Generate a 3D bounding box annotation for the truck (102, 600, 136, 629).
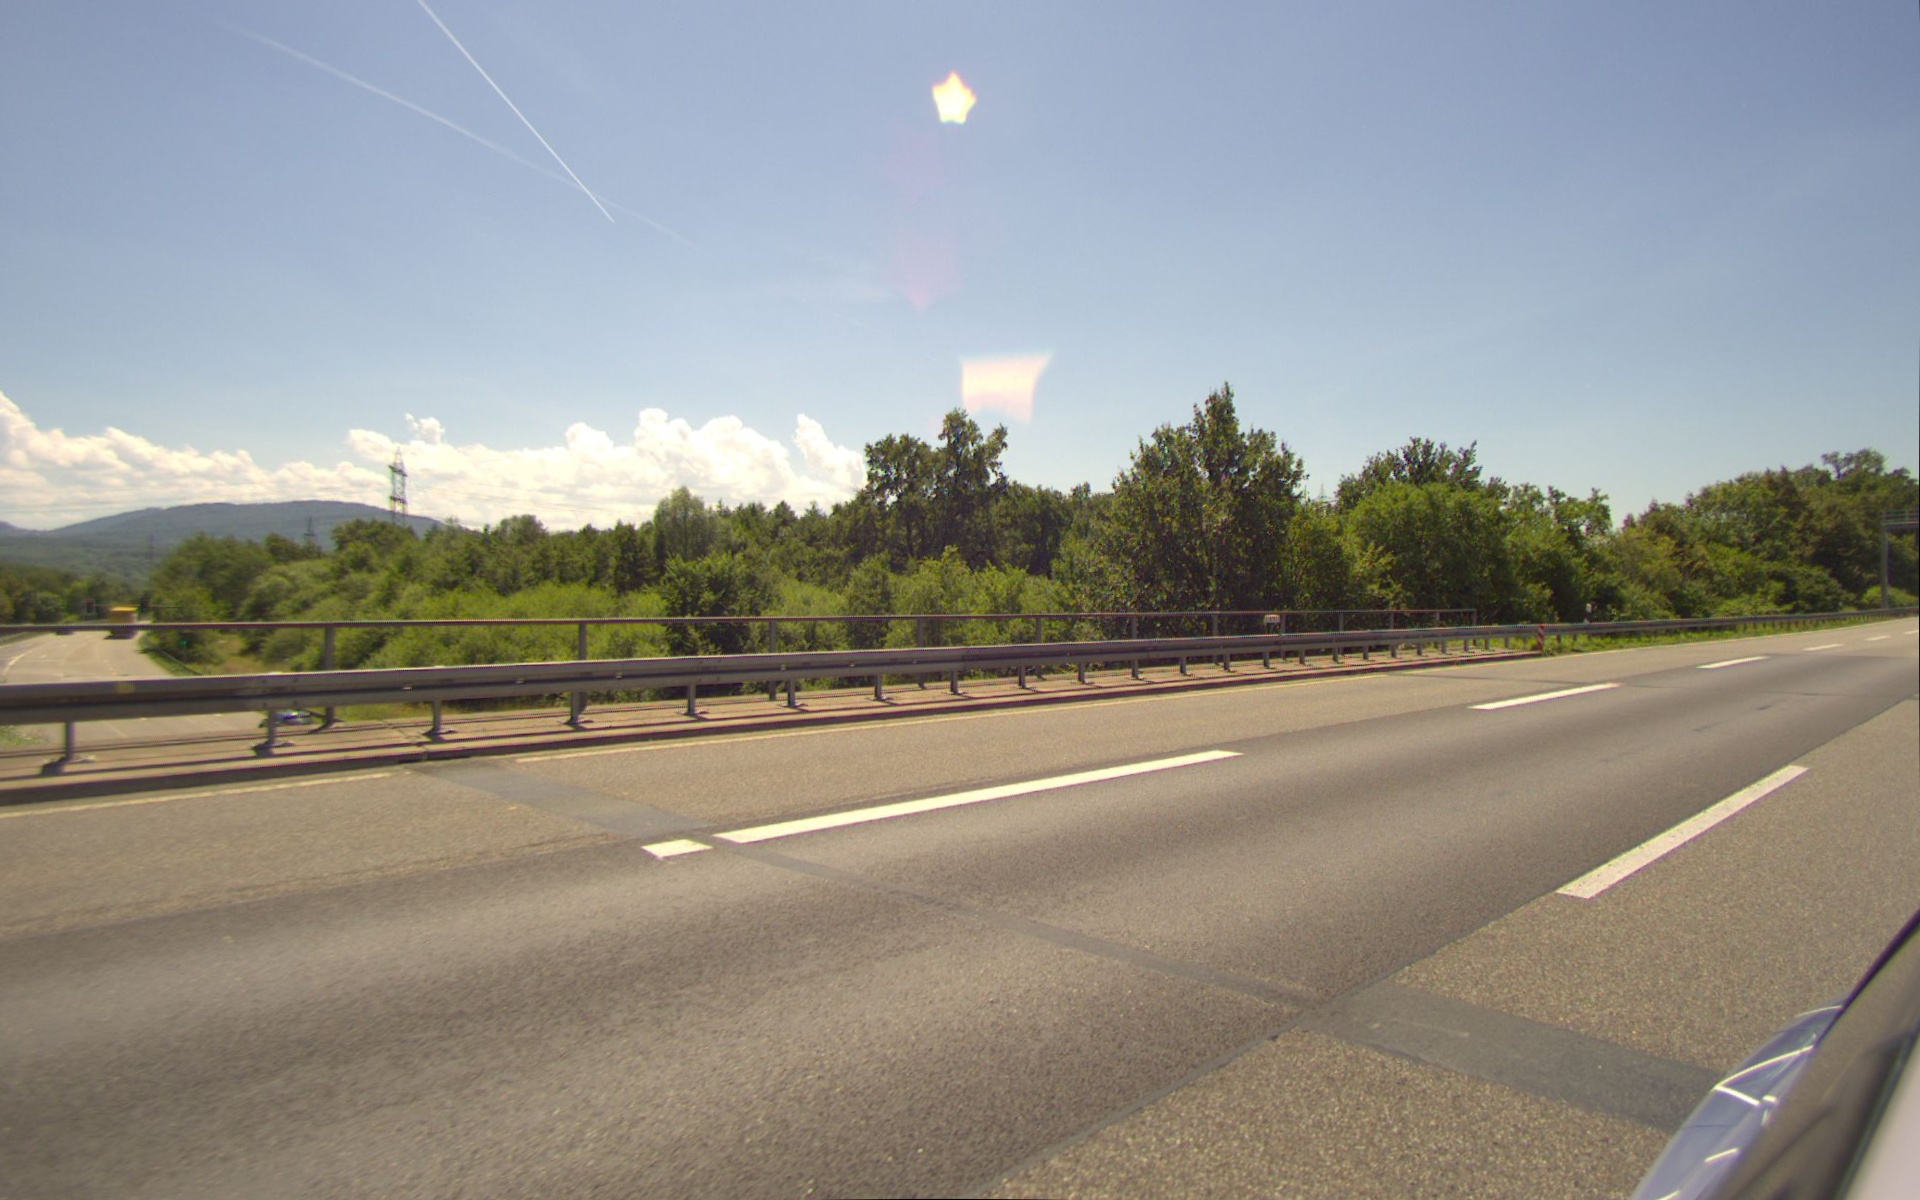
[{"bbox_3d":[-119.359,2.016,143.624,3.538,3.809,8.121,0,1,-41],"label":"truck"}]
